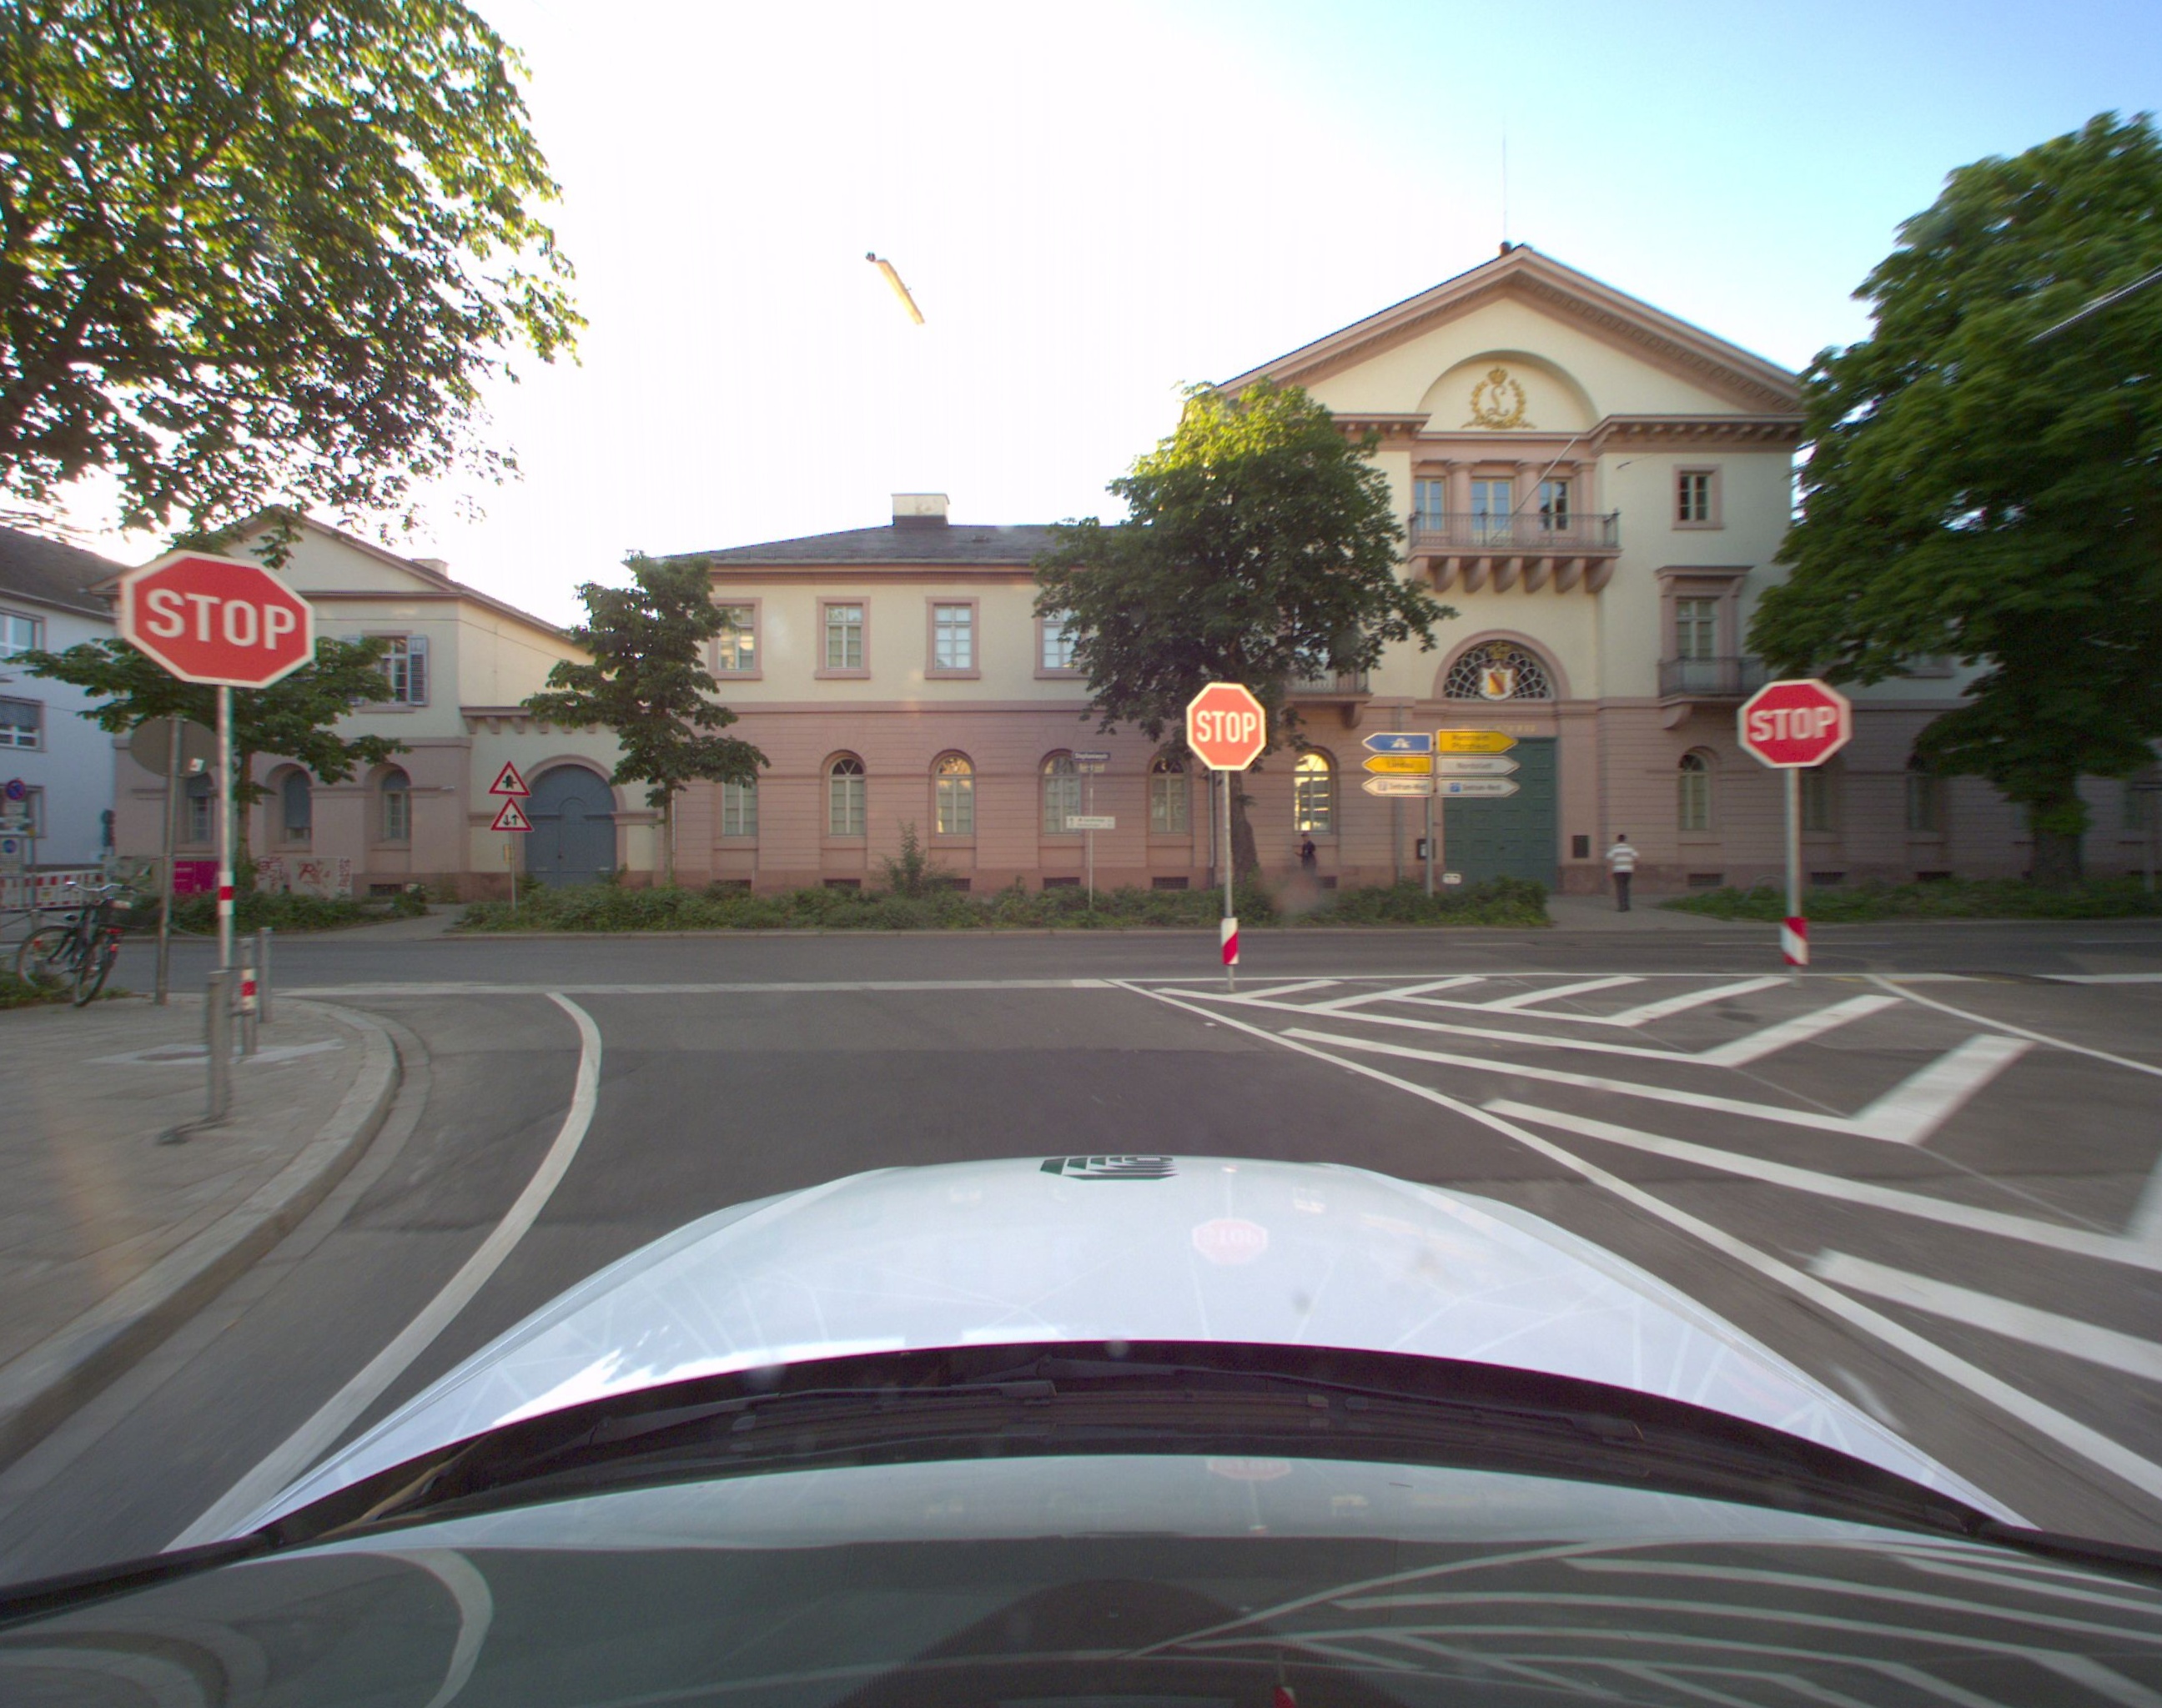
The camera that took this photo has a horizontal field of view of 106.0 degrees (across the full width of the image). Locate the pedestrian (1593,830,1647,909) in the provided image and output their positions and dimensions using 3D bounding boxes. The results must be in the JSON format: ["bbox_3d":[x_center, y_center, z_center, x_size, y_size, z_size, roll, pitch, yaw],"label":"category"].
[{"bbox_3d":[12.747,0.359,19.279,0.792,1.832,0.933,-1,-1,15],"label":"pedestrian"}]

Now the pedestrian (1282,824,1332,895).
[{"bbox_3d":[5.974,0.146,21.552,1.076,1.839,0.800,0,-1,-1],"label":"pedestrian"}]

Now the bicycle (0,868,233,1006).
[{"bbox_3d":[-10.062,0.782,8.275,2.545,1.267,0.849,0,0,14],"label":"bicycle"}]
